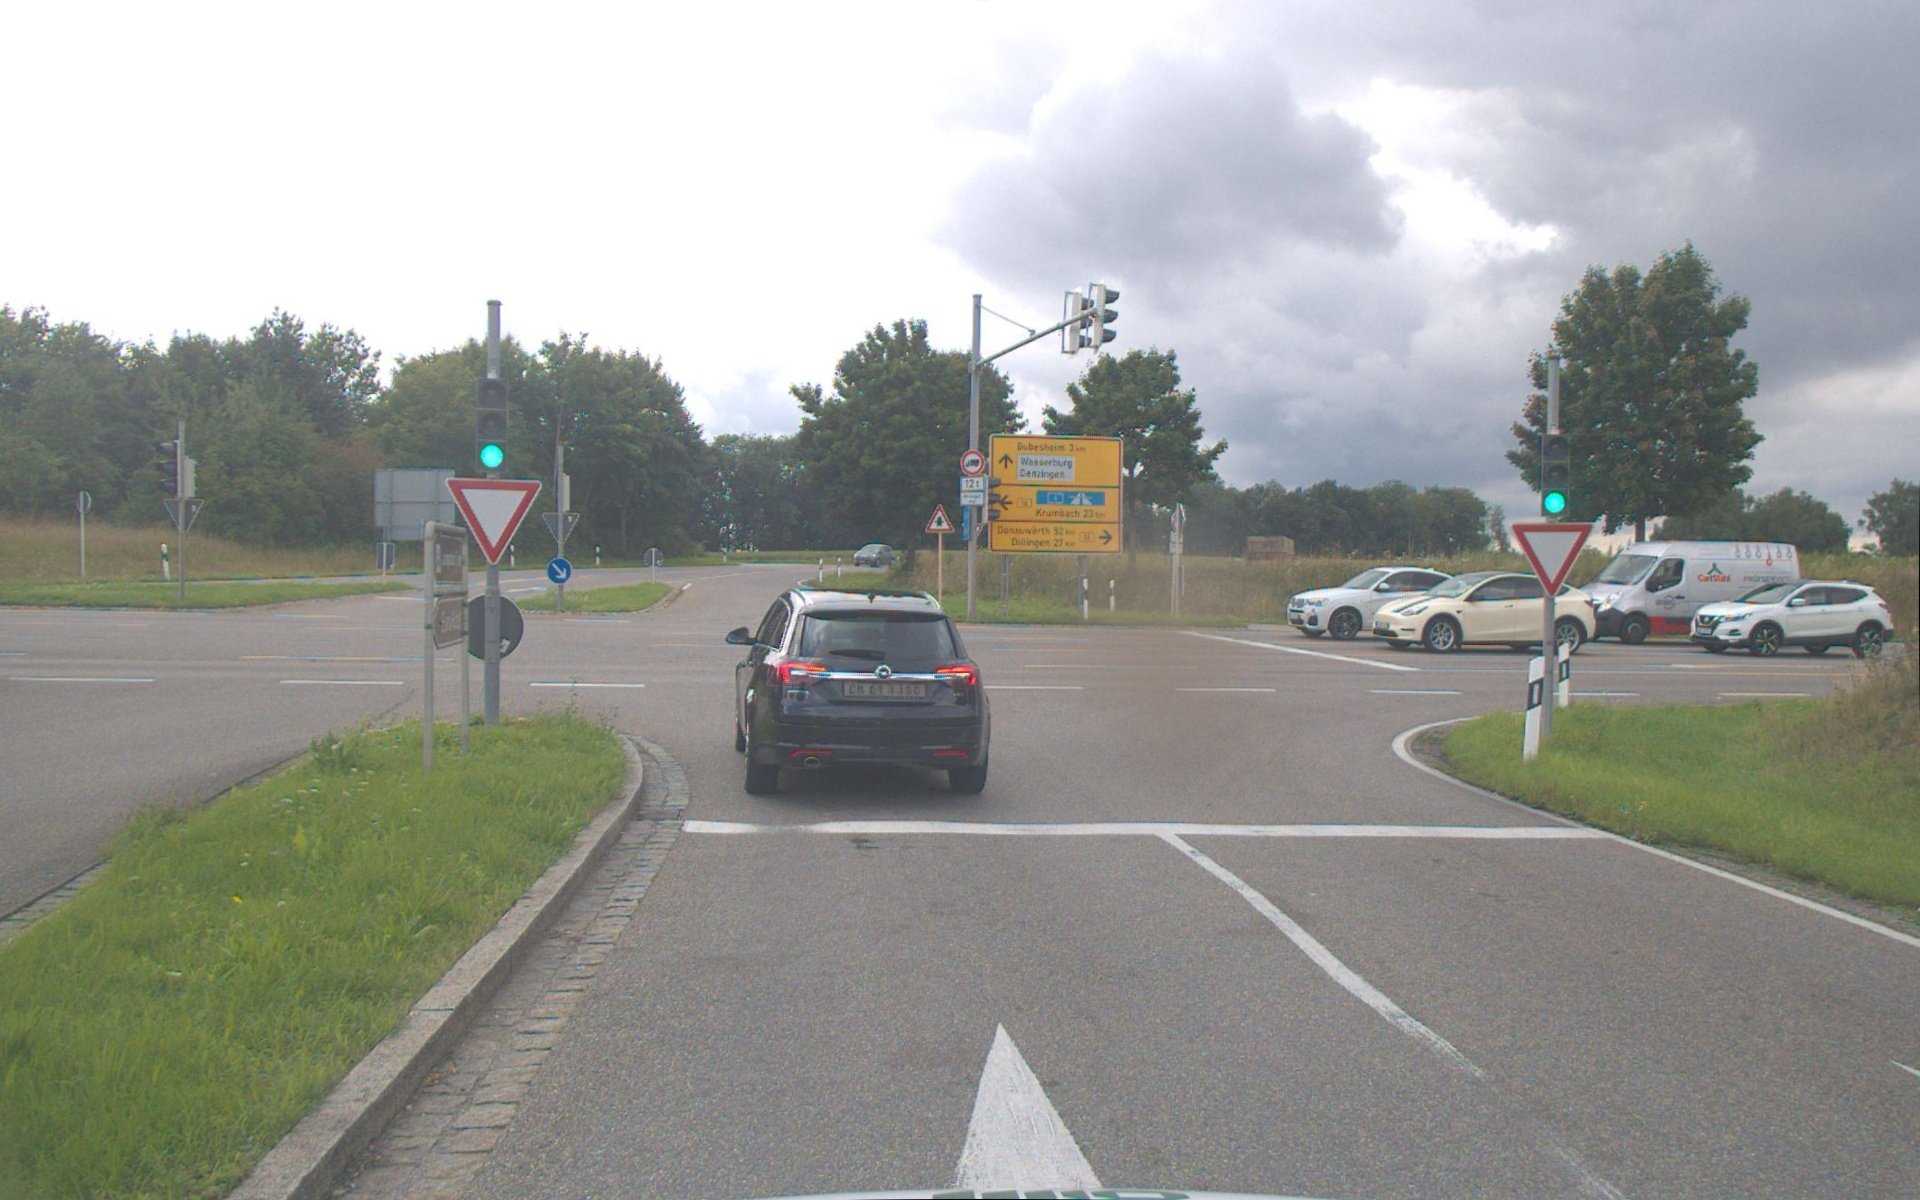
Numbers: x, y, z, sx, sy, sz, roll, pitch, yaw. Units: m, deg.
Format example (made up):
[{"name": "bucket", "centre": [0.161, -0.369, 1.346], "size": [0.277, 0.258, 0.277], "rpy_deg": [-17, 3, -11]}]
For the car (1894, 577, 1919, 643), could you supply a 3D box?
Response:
[{"name": "car", "centre": [25.953, 0.284, 41.450], "size": [4.187, 1.657, 1.994], "rpy_deg": [1, 0, -13]}]

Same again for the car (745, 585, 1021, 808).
[{"name": "car", "centre": [-0.783, 0.640, 13.258], "size": [1.774, 1.476, 4.265], "rpy_deg": [1, 0, -8]}]

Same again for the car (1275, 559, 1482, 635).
[{"name": "car", "centre": [9.623, -0.069, 38.114], "size": [4.188, 1.657, 1.993], "rpy_deg": [1, 0, -14]}]

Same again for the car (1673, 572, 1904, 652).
[{"name": "car", "centre": [18.108, 0.261, 36.238], "size": [4.234, 1.658, 1.994], "rpy_deg": [1, 0, -13]}]

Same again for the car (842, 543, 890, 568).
[{"name": "car", "centre": [-6.370, -3.010, 112.022], "size": [1.952, 1.562, 4.002], "rpy_deg": [1, 1, 17]}]

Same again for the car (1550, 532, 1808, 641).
[{"name": "car", "centre": [17.487, -0.307, 40.325], "size": [5.398, 2.484, 2.391], "rpy_deg": [1, 0, -12]}]

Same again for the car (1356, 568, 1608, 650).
[{"name": "car", "centre": [10.819, 0.180, 34.381], "size": [4.651, 1.592, 1.993], "rpy_deg": [1, 0, -13]}]
